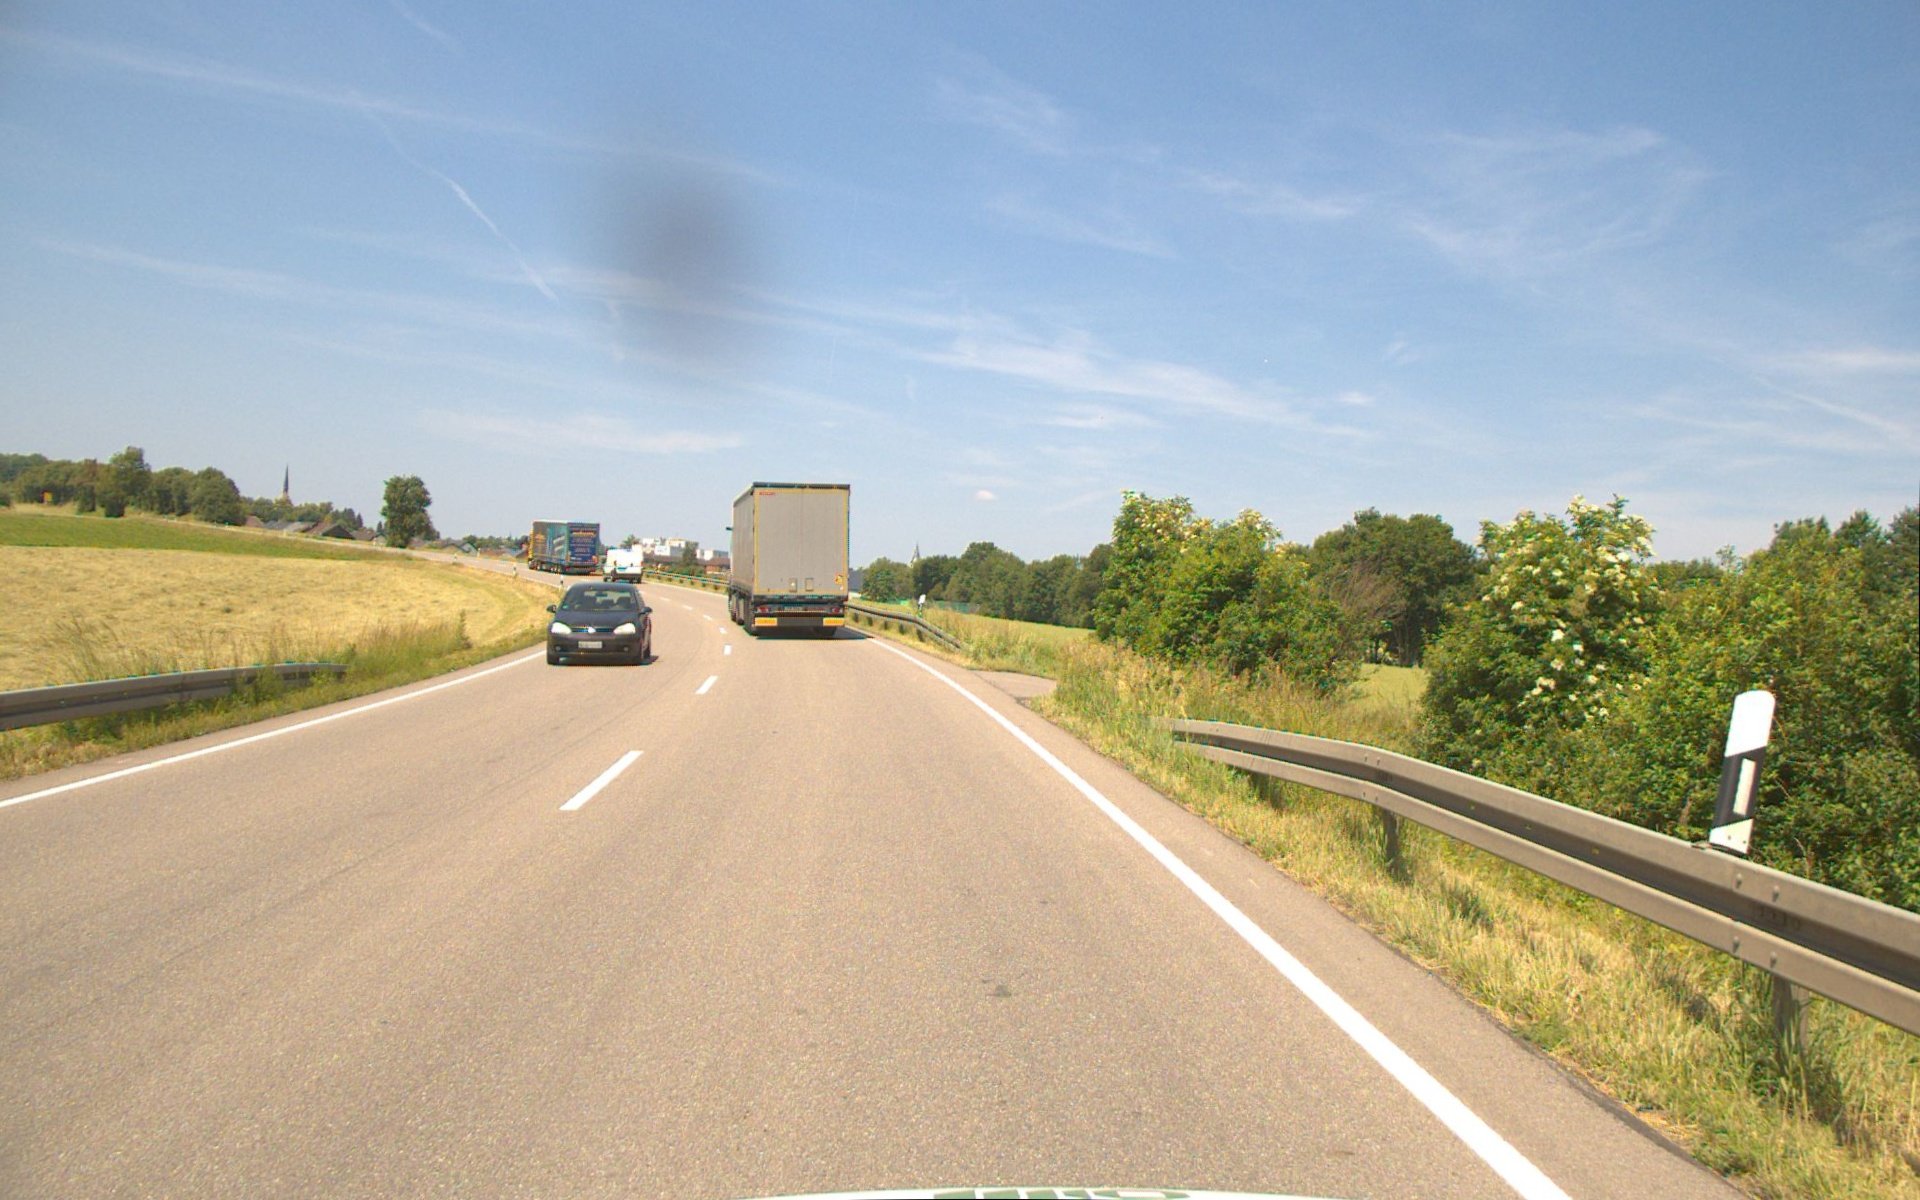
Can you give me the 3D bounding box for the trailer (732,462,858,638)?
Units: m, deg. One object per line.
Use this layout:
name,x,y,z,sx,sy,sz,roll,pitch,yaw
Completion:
trailer,-5.145,-1.351,49.082,2.814,4.477,13.463,1,1,-9

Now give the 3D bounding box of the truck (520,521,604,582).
truck,-32.746,-4.018,135.201,3.502,4.468,17.993,3,1,-23

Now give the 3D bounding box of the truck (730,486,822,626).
truck,-6.316,-1.417,56.166,2.807,4.478,5.060,1,0,-10

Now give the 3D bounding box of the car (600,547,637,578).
car,-23.333,-2.540,112.892,1.701,1.906,3.972,2,-2,-22

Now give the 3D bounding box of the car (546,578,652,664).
car,-6.861,0.348,31.763,1.668,1.495,4.193,0,1,-8
